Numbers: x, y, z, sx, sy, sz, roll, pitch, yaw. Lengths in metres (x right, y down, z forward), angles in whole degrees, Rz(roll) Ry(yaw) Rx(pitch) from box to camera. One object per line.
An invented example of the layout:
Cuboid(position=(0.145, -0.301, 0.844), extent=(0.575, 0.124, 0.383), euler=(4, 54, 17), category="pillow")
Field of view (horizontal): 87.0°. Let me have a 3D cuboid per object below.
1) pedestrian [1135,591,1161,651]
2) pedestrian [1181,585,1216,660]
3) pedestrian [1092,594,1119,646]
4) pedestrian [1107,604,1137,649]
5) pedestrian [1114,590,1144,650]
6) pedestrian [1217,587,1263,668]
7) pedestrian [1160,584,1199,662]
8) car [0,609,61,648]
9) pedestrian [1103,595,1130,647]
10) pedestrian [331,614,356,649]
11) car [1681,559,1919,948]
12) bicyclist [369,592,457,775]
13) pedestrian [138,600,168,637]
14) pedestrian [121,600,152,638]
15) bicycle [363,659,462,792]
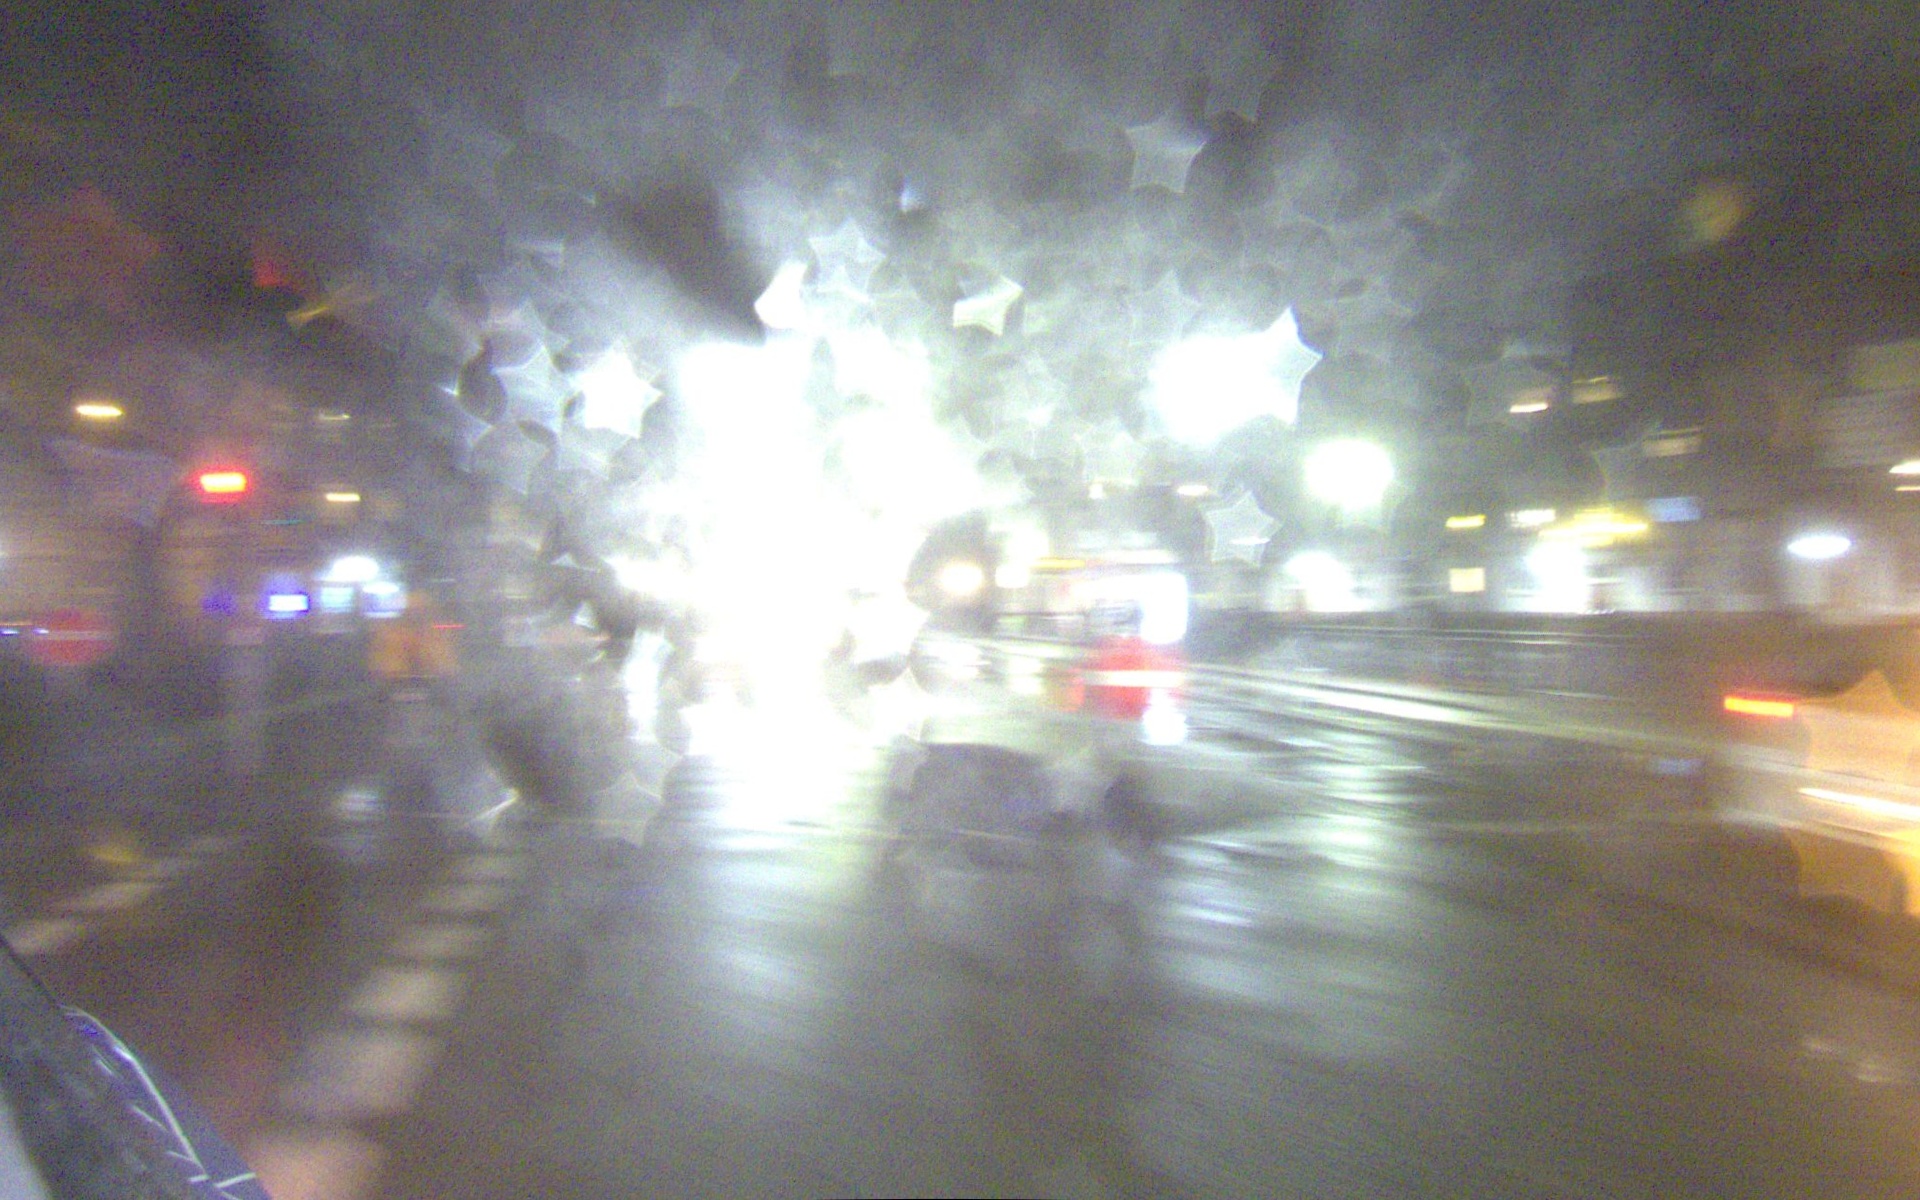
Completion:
Cuboid(position=(5.246, 0.575, 28.245), extent=(0.532, 1.641, 0.395), euler=(-2, 1, 36), category="pedestrian")
Cuboid(position=(5.847, 0.536, 24.771), extent=(0.711, 1.787, 0.667), euler=(-2, 1, 18), category="pedestrian")
Cuboid(position=(4.478, 0.624, 31.133), extent=(0.503, 1.559, 0.577), euler=(-3, 1, -29), category="pedestrian")
Cuboid(position=(4.723, 0.767, 29.543), extent=(0.623, 1.263, 0.578), euler=(-2, 1, 36), category="pedestrian")
Cuboid(position=(4.803, 0.579, 28.755), extent=(0.559, 1.664, 0.578), euler=(-2, 1, 36), category="pedestrian")
Cuboid(position=(6.382, 0.606, 23.087), extent=(0.659, 1.787, 0.719), euler=(-3, 1, -21), category="pedestrian")
Cuboid(position=(5.811, 0.586, 26.842), extent=(0.599, 2.001, 0.861), euler=(-3, 1, -14), category="pedestrian")
Cuboid(position=(-42.756, 1.266, 44.980), extent=(4.449, 1.605, 1.882), euler=(-1, 1, 12), category="car")
Cuboid(position=(4.740, 0.627, 30.614), extent=(0.471, 1.539, 0.588), euler=(-3, 1, -29), category="pedestrian")
Cuboid(position=(-28.065, 1.434, 46.079), extent=(0.755, 1.504, 0.636), euler=(-3, 1, -13), category="pedestrian")
Cuboid(position=(5.515, 0.574, 4.293), extent=(3.544, 1.527, 1.927), euler=(-1, 0, -3), category="car")
Cuboid(position=(-4.975, 0.723, 9.244), extent=(0.562, 1.559, 0.819), euler=(-3, 1, -22), category="bicyclist")
Cuboid(position=(-36.863, 0.838, 46.209), extent=(0.835, 1.650, 0.631), euler=(-2, 1, 14), category="pedestrian")
Cuboid(position=(-37.055, 0.859, 45.528), extent=(0.866, 1.650, 0.631), euler=(-2, 1, 14), category="pedestrian")
Cuboid(position=(-4.988, 1.090, 9.302), extent=(0.562, 0.976, 1.786), euler=(-3, 1, -22), category="bicycle")
